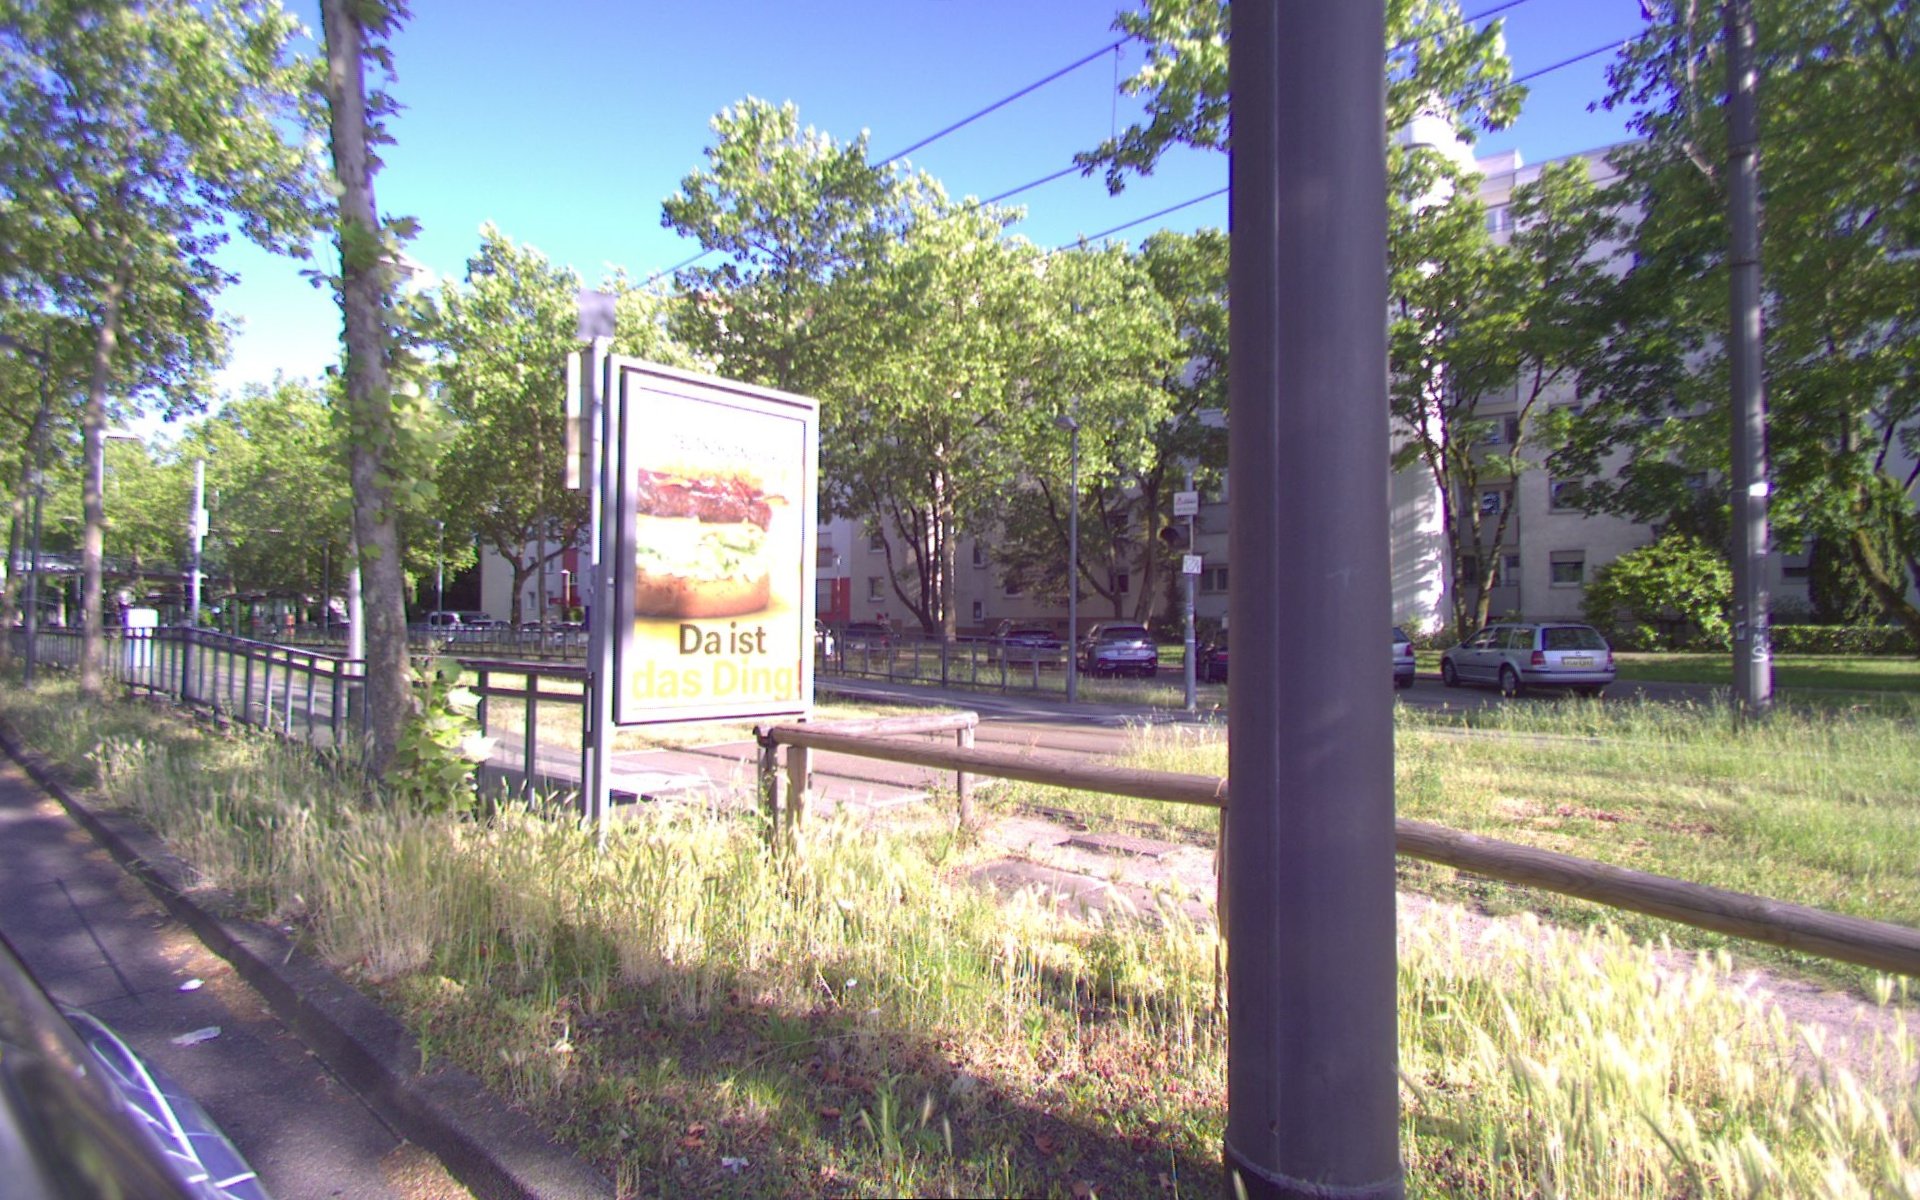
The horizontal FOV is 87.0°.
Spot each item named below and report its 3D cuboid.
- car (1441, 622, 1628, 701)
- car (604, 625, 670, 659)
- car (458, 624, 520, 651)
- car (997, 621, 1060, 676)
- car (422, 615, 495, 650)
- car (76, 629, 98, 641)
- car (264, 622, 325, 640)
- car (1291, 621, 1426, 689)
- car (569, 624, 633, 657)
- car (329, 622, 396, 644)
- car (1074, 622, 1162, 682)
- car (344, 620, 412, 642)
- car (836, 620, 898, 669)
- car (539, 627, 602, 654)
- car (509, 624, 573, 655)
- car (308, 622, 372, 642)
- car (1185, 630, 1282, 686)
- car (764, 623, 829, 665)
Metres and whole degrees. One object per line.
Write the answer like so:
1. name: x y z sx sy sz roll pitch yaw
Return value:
1. car: 11.545 1.178 20.635 1.707 1.444 3.681 0 -1 1
2. car: -14.085 1.820 44.288 1.627 1.403 3.679 0 -1 2
3. car: -25.800 2.036 55.527 1.627 1.407 3.680 0 -1 1
4. car: 1.931 1.369 29.453 1.664 1.482 3.680 0 -1 1
5. car: -28.328 1.827 57.336 1.898 1.898 4.365 0 -1 1
6. car: -108.959 4.344 126.305 3.294 1.370 1.651 -1 -2 41
7. car: -52.146 2.404 79.373 1.898 1.386 4.365 0 -1 1
8. car: 9.150 1.221 23.534 1.679 1.444 3.681 0 -1 1
9. car: -16.684 1.843 47.144 1.627 1.460 3.680 0 -1 1
10. car: -40.284 2.204 68.400 1.898 1.386 4.365 0 -1 1
11. car: 4.204 1.348 27.499 1.894 1.507 3.680 0 -1 2
12. car: -38.206 2.047 66.603 1.898 1.386 4.365 0 -1 1
13. car: -3.110 1.460 34.475 1.664 1.579 3.679 0 -1 2
14. car: -19.048 1.981 49.674 1.627 1.251 3.680 0 -1 1
15. car: -21.125 1.960 51.141 1.627 1.460 3.680 0 -1 1
16. car: -44.645 2.282 72.993 1.898 1.386 4.365 0 -1 1
17. car: 6.727 1.402 25.213 1.602 1.256 3.677 0 -1 4
18. car: -5.911 1.573 36.925 1.664 1.444 3.679 0 -1 2
